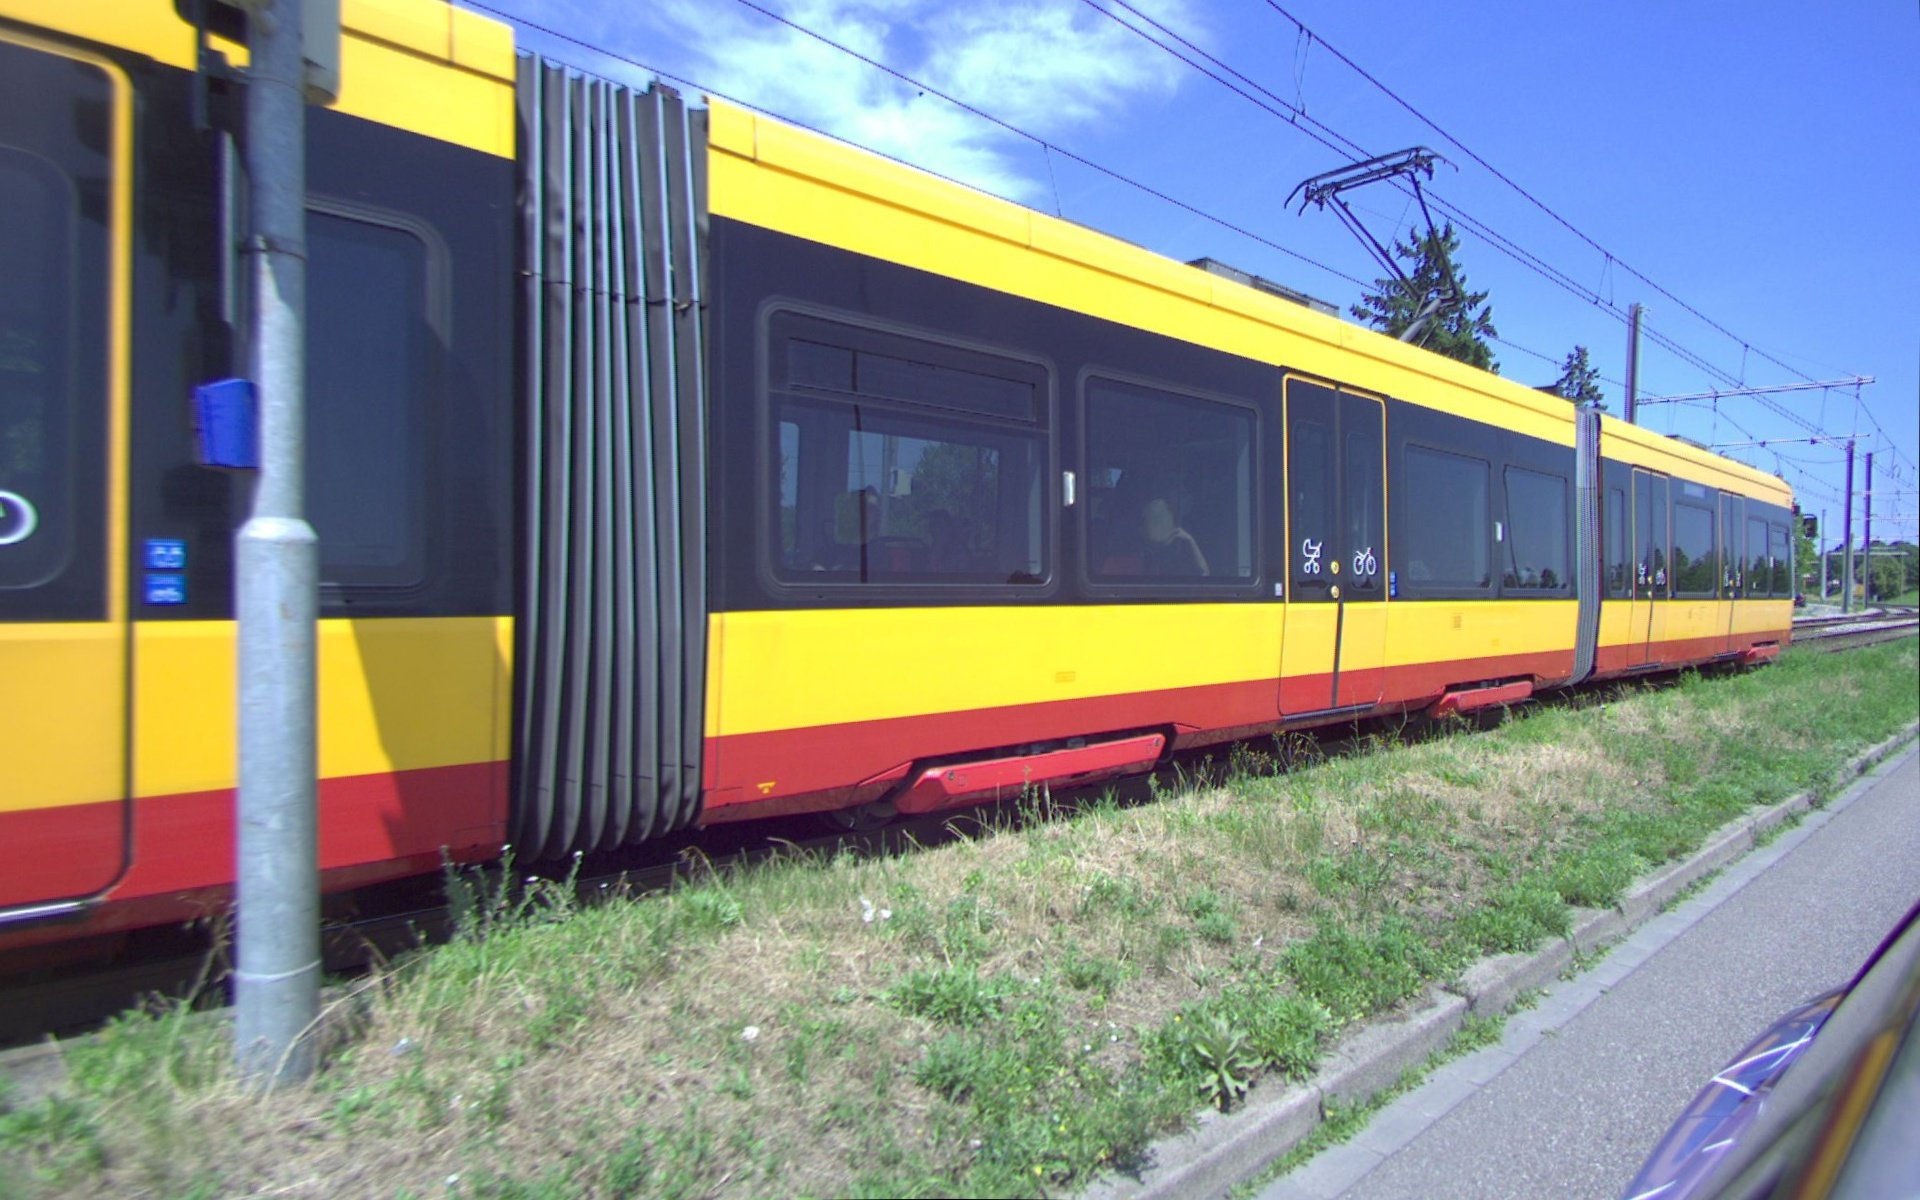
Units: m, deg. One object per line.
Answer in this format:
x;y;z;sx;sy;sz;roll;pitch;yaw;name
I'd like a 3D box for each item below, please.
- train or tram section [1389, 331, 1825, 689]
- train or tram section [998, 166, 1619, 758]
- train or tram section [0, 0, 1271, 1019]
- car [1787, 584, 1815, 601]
10.469;-1.116;15.452;11.358;3.812;2.434;-2;3;-41;train or tram section
3.652;-0.981;9.595;6.612;3.759;2.566;-1;3;-41;train or tram section
-1.386;-0.902;5.405;6.612;3.812;2.707;-1;3;-41;train or tram section
77.198;-0.718;92.869;1.796;1.443;4.669;2;3;42;car
